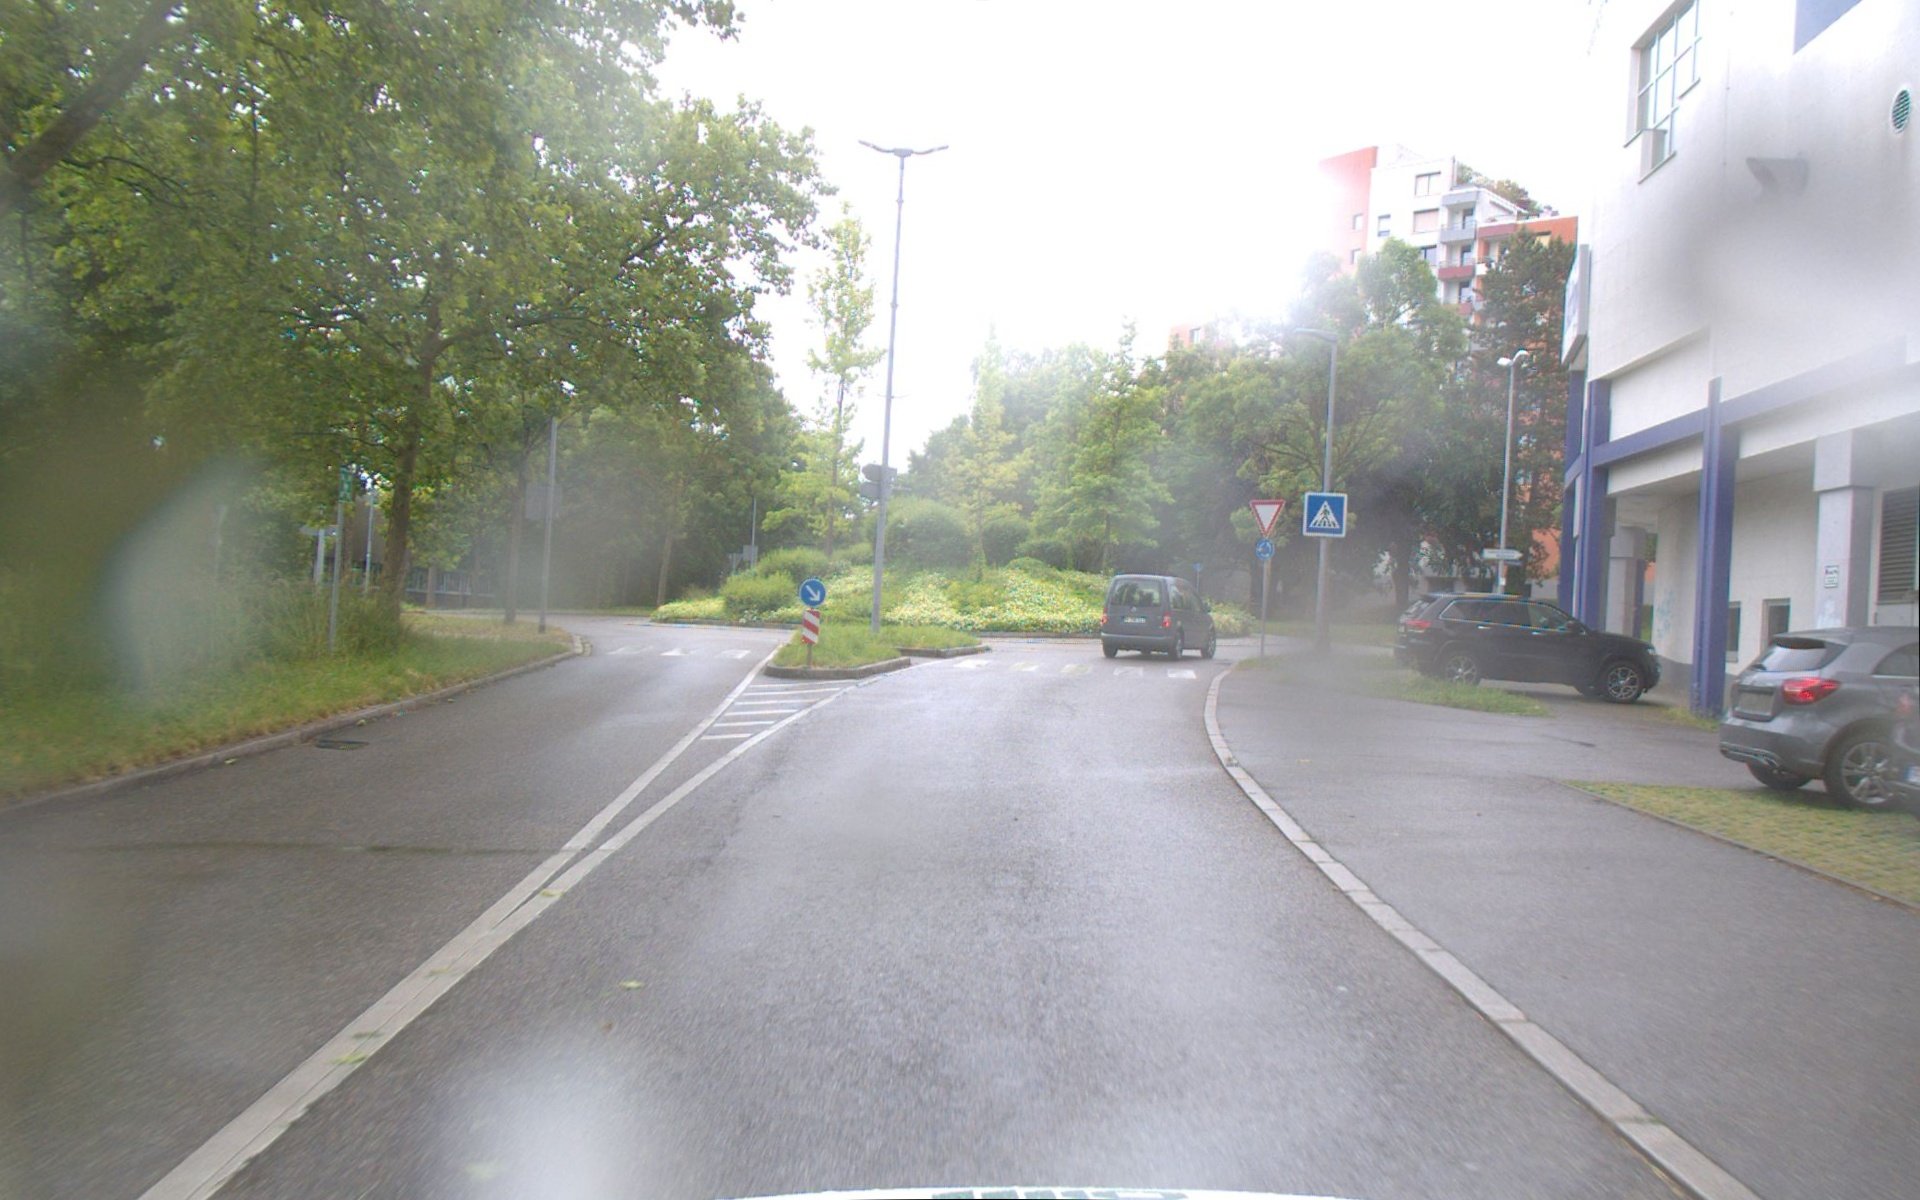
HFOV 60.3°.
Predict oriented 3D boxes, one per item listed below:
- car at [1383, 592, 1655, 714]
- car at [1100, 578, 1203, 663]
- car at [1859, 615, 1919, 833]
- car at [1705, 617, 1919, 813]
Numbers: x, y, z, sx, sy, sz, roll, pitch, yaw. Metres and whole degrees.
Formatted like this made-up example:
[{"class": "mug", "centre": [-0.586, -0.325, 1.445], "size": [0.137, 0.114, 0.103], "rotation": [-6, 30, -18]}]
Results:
[{"class": "car", "centre": [10.142, 0.935, 30.274], "size": [4.287, 1.789, 1.830], "rotation": [4, 2, 3]}, {"class": "car", "centre": [4.414, 0.471, 37.679], "size": [1.877, 1.833, 3.792], "rotation": [0, -1, 13]}, {"class": "car", "centre": [8.319, 0.922, 11.159], "size": [3.542, 1.478, 1.721], "rotation": [3, -1, 1]}, {"class": "car", "centre": [8.507, 0.970, 13.716], "size": [3.855, 1.478, 1.722], "rotation": [3, 0, 5]}]
